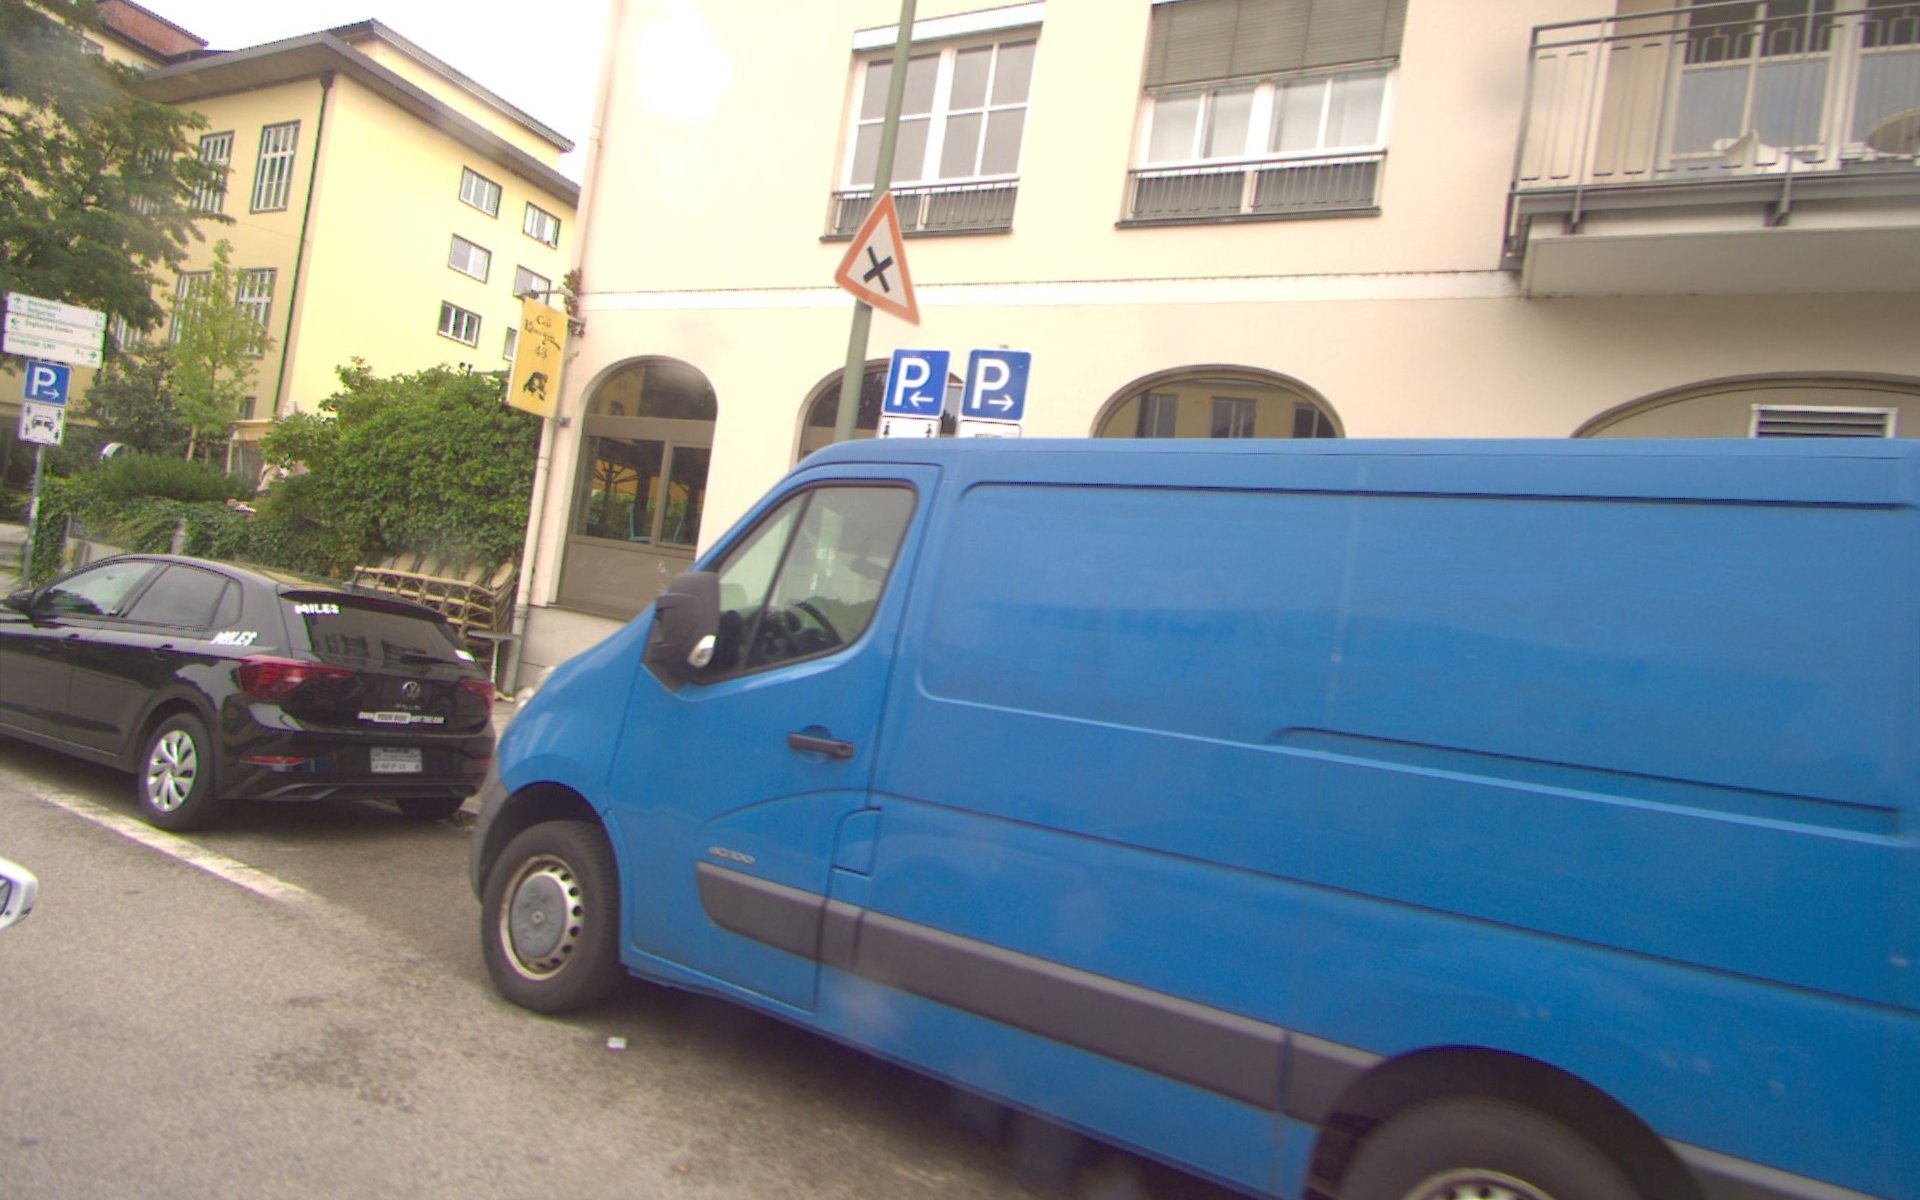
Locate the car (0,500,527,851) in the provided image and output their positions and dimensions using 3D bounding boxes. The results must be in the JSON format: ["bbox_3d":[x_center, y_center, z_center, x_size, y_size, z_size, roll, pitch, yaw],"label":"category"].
[{"bbox_3d":[-5.009,0.369,6.529,3.888,1.532,1.713,8,-6,26],"label":"car"}]

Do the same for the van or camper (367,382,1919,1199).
[{"bbox_3d":[0.555,0.659,3.711,5.346,2.252,2.069,7,-5,30],"label":"van or camper"}]
